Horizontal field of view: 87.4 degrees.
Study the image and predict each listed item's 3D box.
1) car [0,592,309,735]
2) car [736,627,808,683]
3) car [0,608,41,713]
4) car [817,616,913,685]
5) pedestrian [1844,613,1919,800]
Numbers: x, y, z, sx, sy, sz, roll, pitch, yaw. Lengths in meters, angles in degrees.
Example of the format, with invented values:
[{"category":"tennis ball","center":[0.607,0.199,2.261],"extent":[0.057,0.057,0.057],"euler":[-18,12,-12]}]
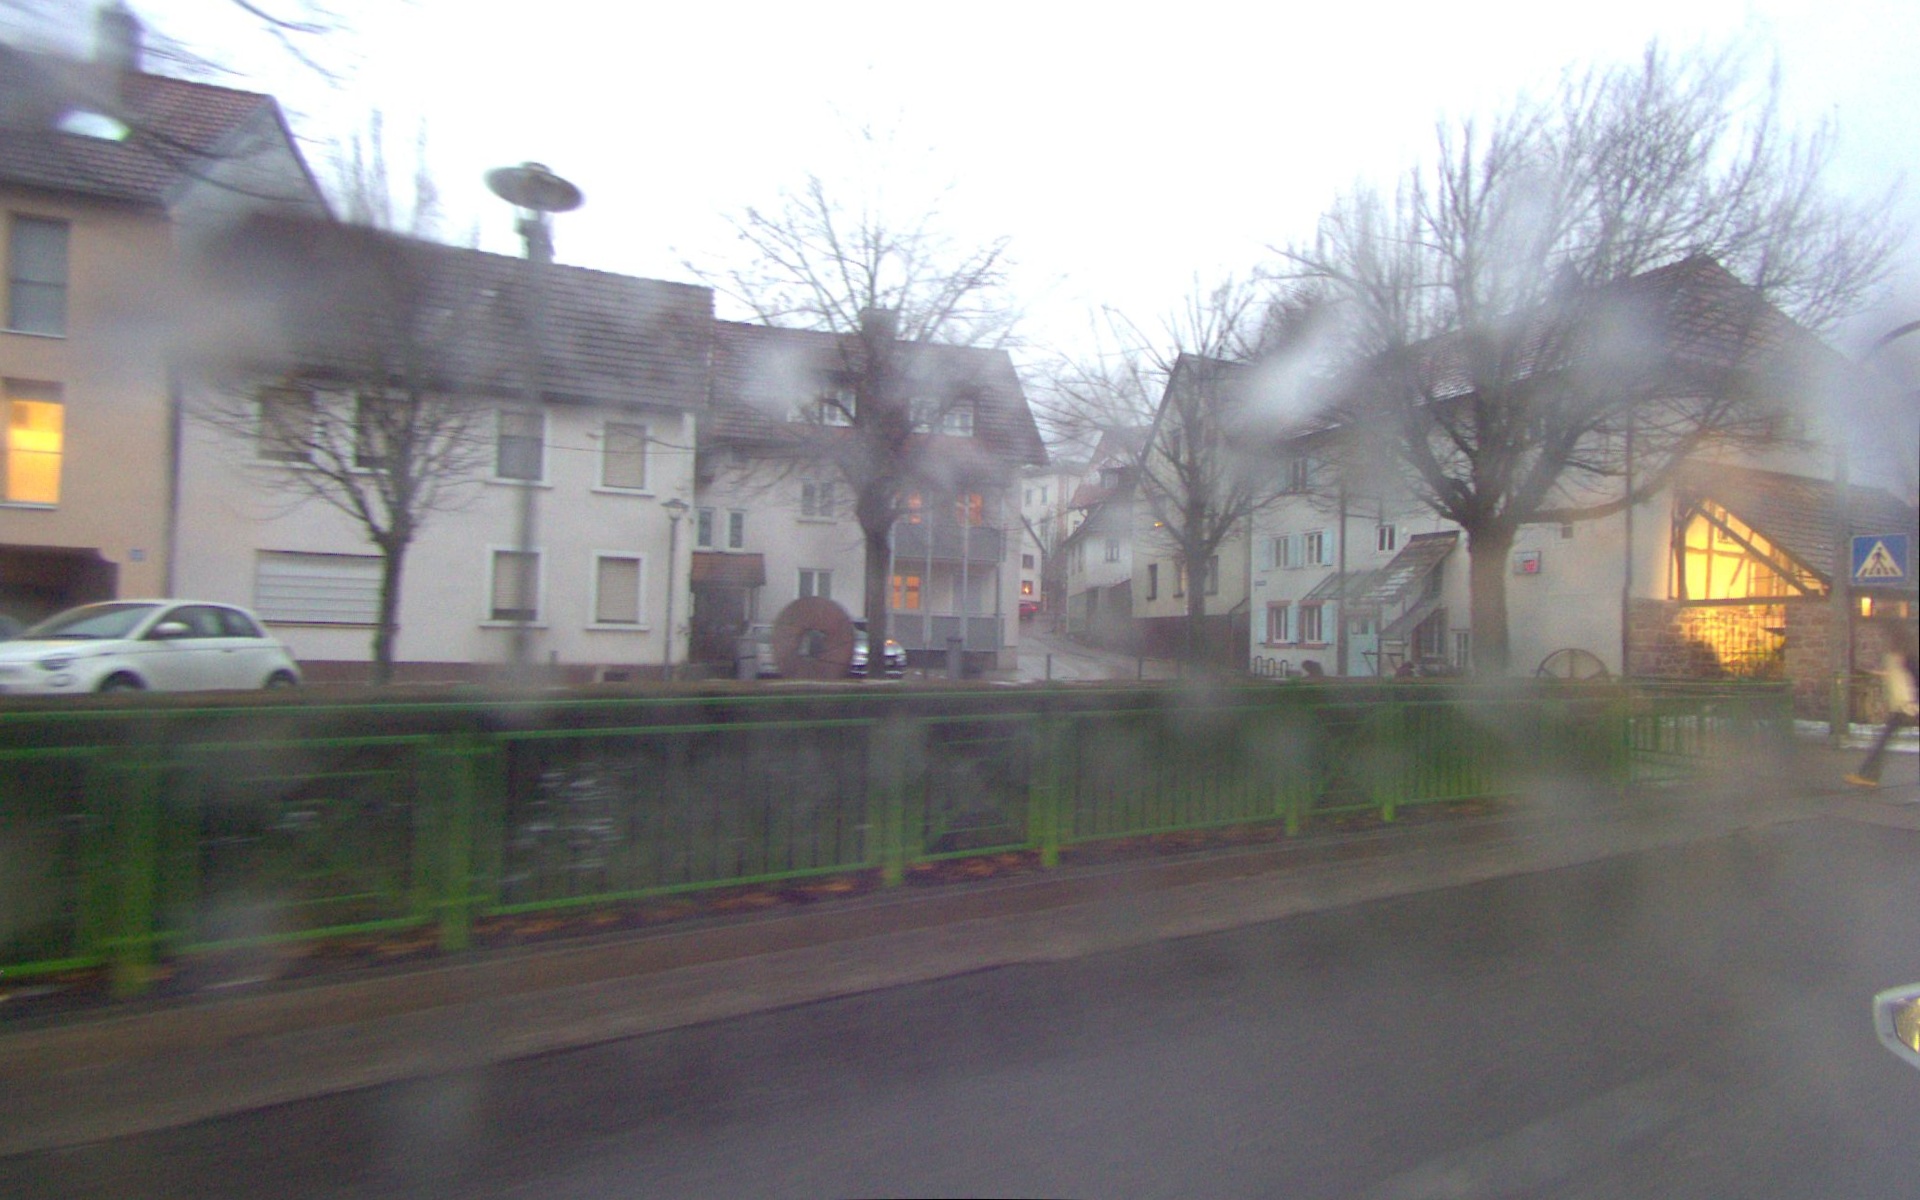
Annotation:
[{"category":"car","center":[-9.758,0.653,11.905],"extent":[1.578,1.428,3.487],"euler":[1,-1,5]},{"category":"car","center":[-5.010,1.420,26.516],"extent":[1.504,1.142,3.043],"euler":[1,3,-17]},{"category":"car","center":[-12.156,0.686,10.832],"extent":[1.578,1.236,3.057],"euler":[1,-1,3]},{"category":"car","center":[-2.649,1.319,27.321],"extent":[1.687,1.633,3.593],"euler":[1,0,-20]},{"category":"pedestrian","center":[9.461,1.018,9.791],"extent":[0.940,1.757,0.880],"euler":[1,-2,-15]}]
